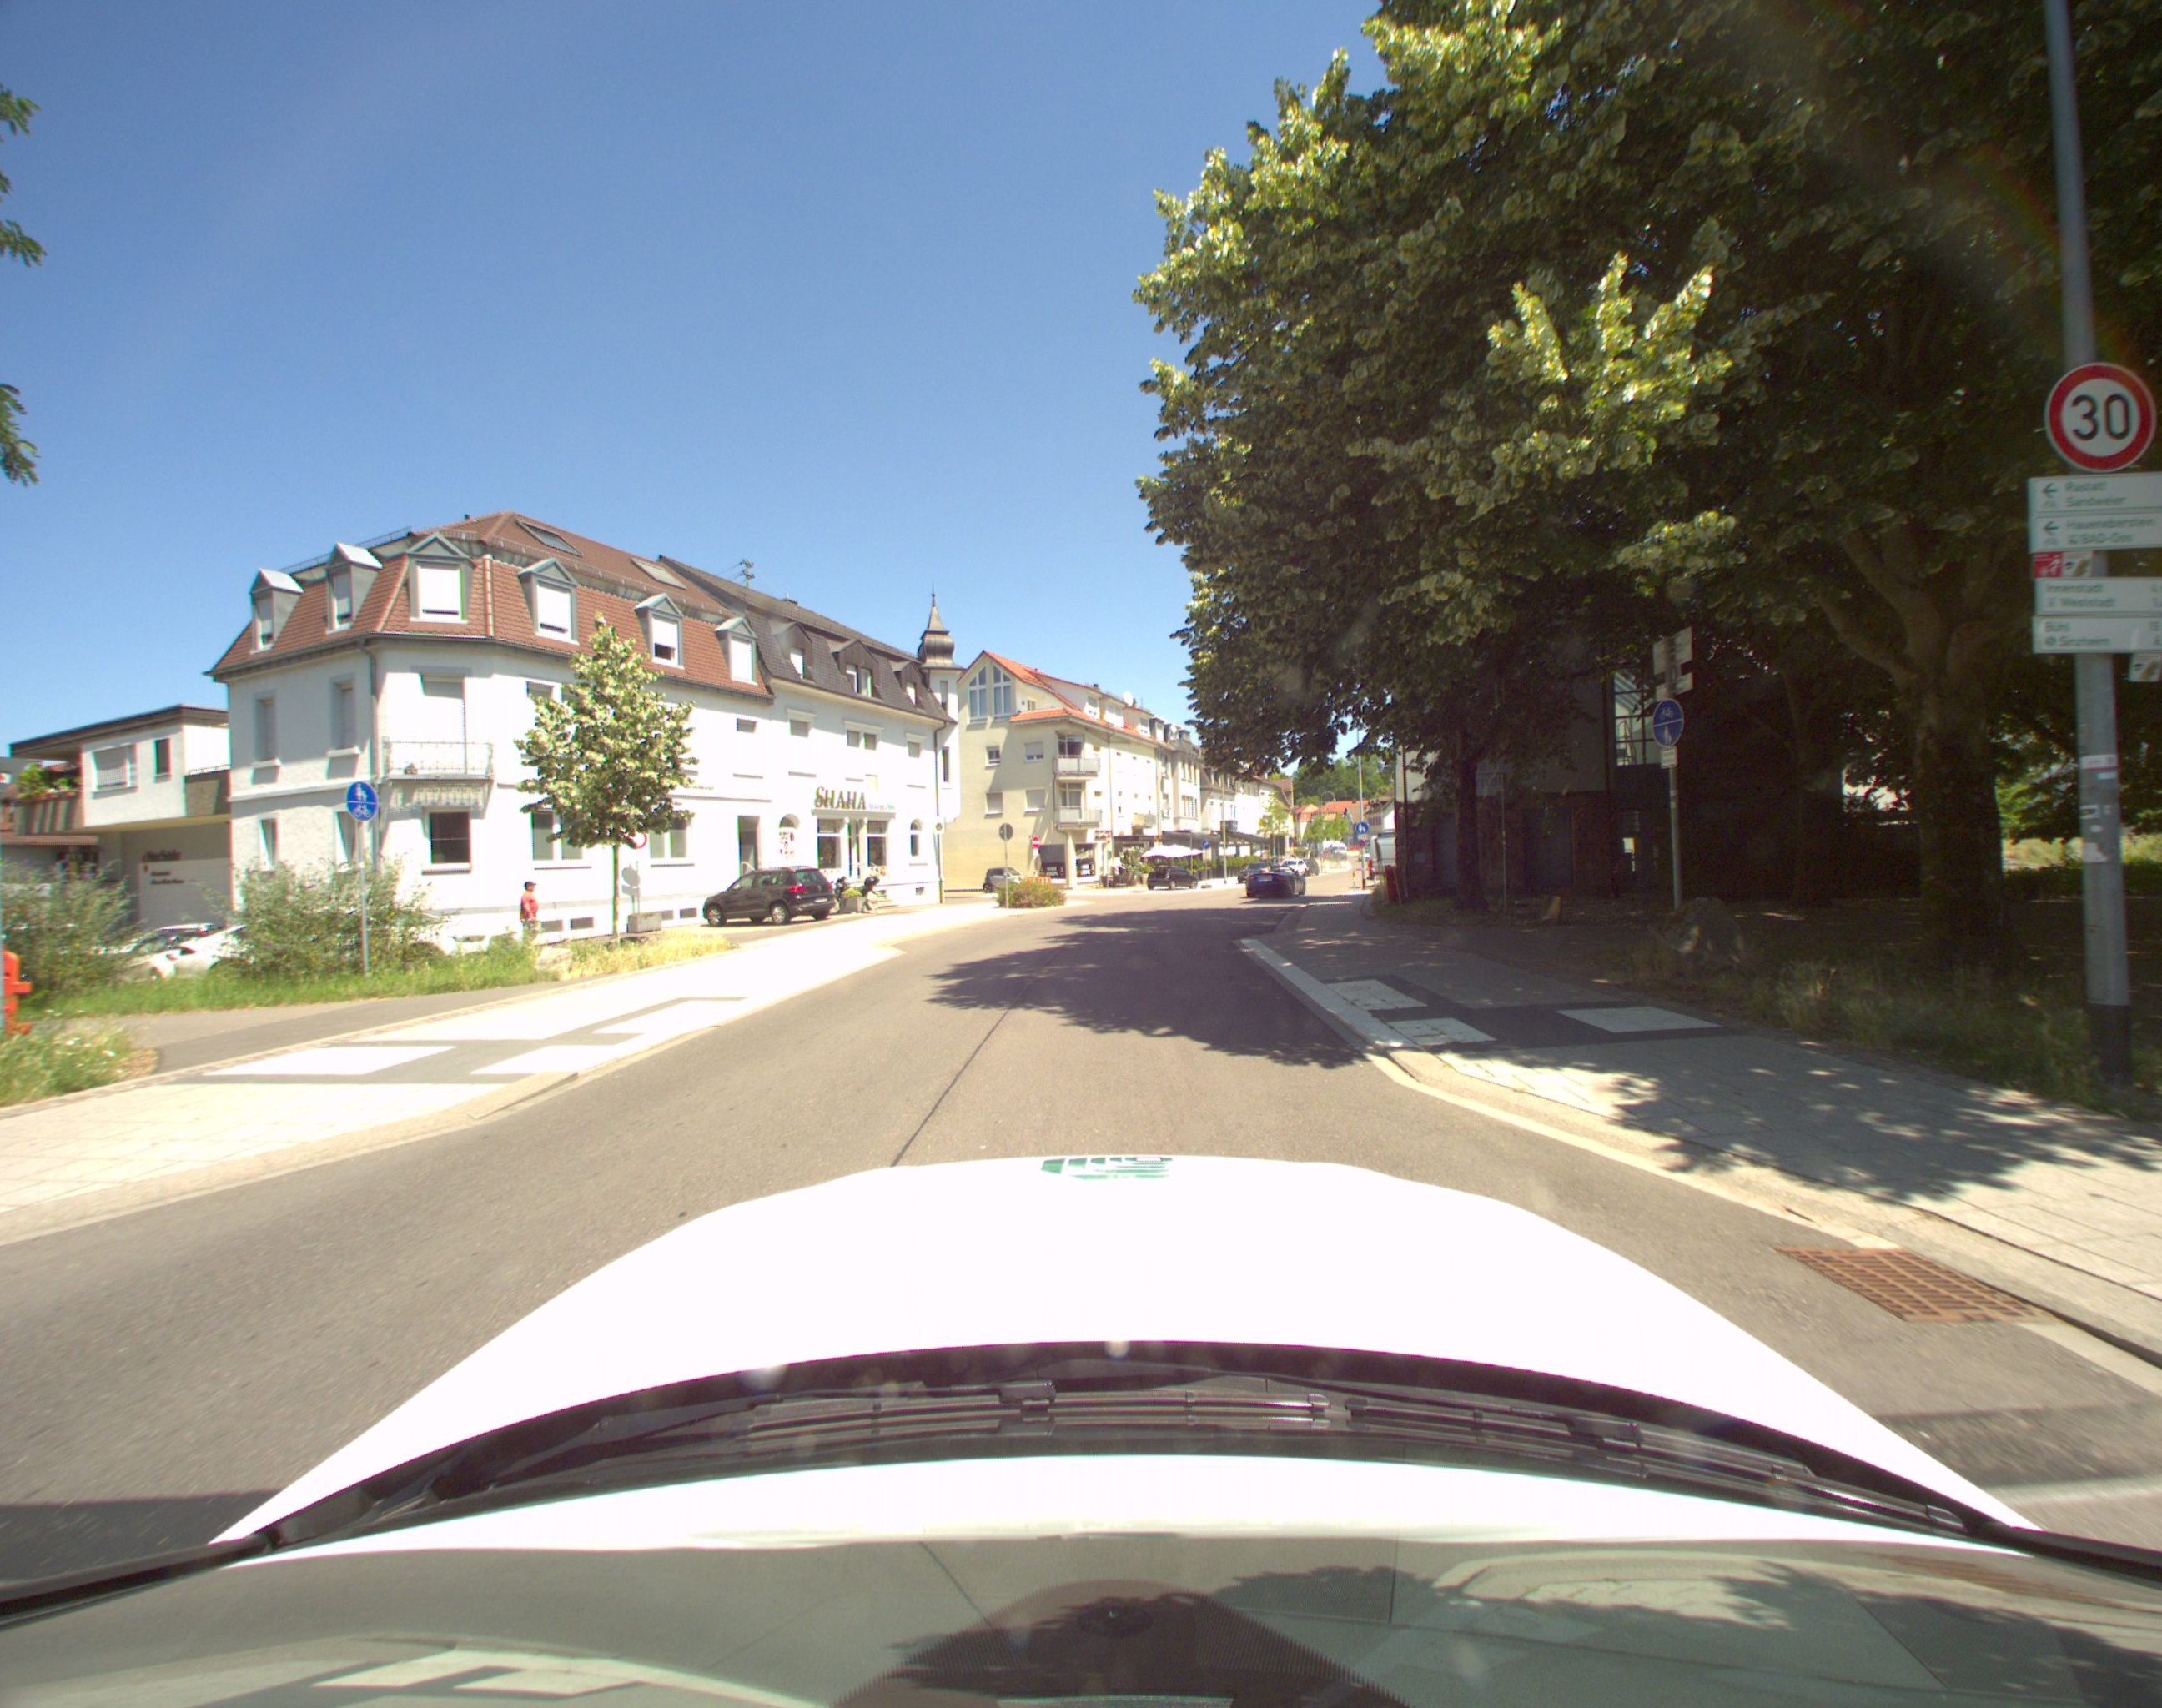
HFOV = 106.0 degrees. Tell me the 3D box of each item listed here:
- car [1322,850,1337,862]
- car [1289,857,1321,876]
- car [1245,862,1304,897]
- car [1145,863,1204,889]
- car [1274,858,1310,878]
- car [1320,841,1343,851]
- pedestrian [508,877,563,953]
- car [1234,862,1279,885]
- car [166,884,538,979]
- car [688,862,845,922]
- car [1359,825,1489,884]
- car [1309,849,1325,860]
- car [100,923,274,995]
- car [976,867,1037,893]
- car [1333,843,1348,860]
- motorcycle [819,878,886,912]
[{"bbox_3d":[38.488,0.301,126.120,1.979,1.738,4.015,-2,-1,13],"label":"car"},{"bbox_3d":[18.899,1.004,68.647,1.654,1.443,4.035,-2,0,29],"label":"car"},{"bbox_3d":[8.274,1.037,34.548,1.855,1.342,4.619,-1,0,20],"label":"car"},{"bbox_3d":[5.654,1.265,48.891,1.696,1.460,4.156,0,0,37],"label":"car"},{"bbox_3d":[16.683,1.066,64.191,1.629,1.479,3.966,0,1,32],"label":"car"},{"bbox_3d":[54.892,-1.813,178.525,4.269,2.014,1.988,0,-3,-17],"label":"car"},{"bbox_3d":[-13.342,1.479,19.941,0.732,1.754,0.739,-4,-1,2],"label":"pedestrian"},{"bbox_3d":[12.473,1.323,57.660,1.817,1.429,4.812,-1,0,29],"label":"car"},{"bbox_3d":[-13.100,1.345,14.992,4.694,1.356,1.993,-2,-1,-10],"label":"car"},{"bbox_3d":[-9.491,1.150,24.599,4.144,1.662,1.981,-2,-1,22],"label":"car"},{"bbox_3d":[17.530,0.048,41.659,5.884,2.732,2.209,-2,-1,26],"label":"car"},{"bbox_3d":[40.156,0.043,138.454,1.983,1.692,4.008,-2,0,7],"label":"car"},{"bbox_3d":[-22.893,2.686,20.860,3.951,1.432,1.772,-6,-2,23],"label":"car"},{"bbox_3d":[-4.590,1.588,50.356,3.234,1.458,1.701,-2,0,22],"label":"car"},{"bbox_3d":[37.228,-0.388,116.924,1.853,2.400,4.838,-2,0,16],"label":"car"},{"bbox_3d":[-8.540,1.523,30.410,2.373,1.218,0.838,-2,-2,24],"label":"motorcycle"}]
